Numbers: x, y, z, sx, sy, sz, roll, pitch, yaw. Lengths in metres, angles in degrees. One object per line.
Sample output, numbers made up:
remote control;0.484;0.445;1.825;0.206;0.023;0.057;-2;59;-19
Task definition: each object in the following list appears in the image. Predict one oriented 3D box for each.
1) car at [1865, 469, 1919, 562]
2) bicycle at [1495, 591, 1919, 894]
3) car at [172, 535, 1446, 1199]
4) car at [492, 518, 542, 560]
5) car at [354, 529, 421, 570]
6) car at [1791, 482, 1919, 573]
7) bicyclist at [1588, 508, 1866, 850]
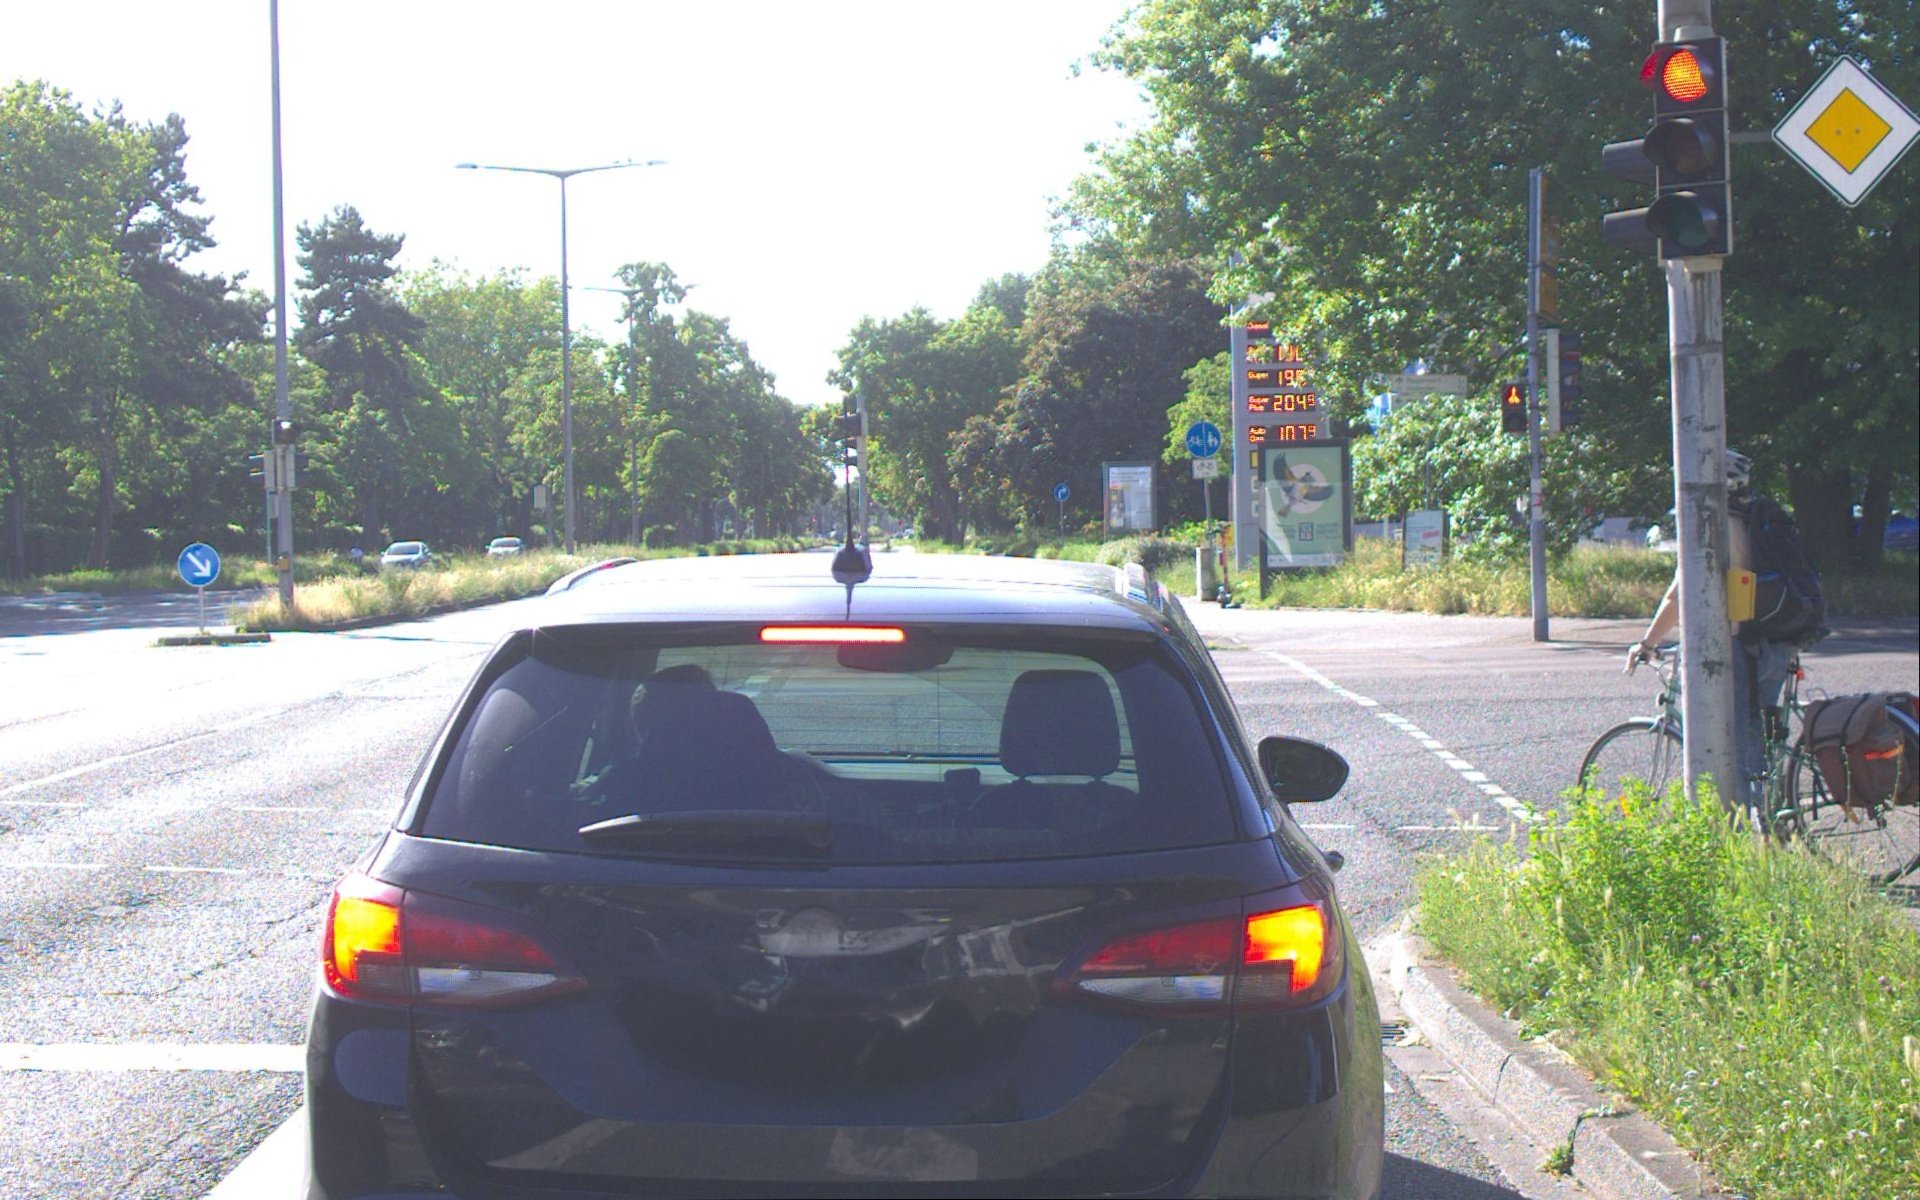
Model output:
car;17.095;-1.433;56.725;3.887;1.512;1.746;-2;1;-23
bicycle;2.979;0.547;13.343;0.536;1.094;1.775;-3;0;-44
car;-0.232;0.633;6.857;1.756;1.490;4.207;0;1;-1
car;-21.919;-3.043;170.179;1.993;2.007;4.000;-2;1;-1
car;-22.569;-2.010;135.646;1.993;1.525;4.000;-2;1;-1
car;16.619;-1.291;59.811;3.887;1.512;1.746;-2;1;-23
bicyclist;2.971;0.306;13.341;0.536;1.272;0.829;-3;0;-44
